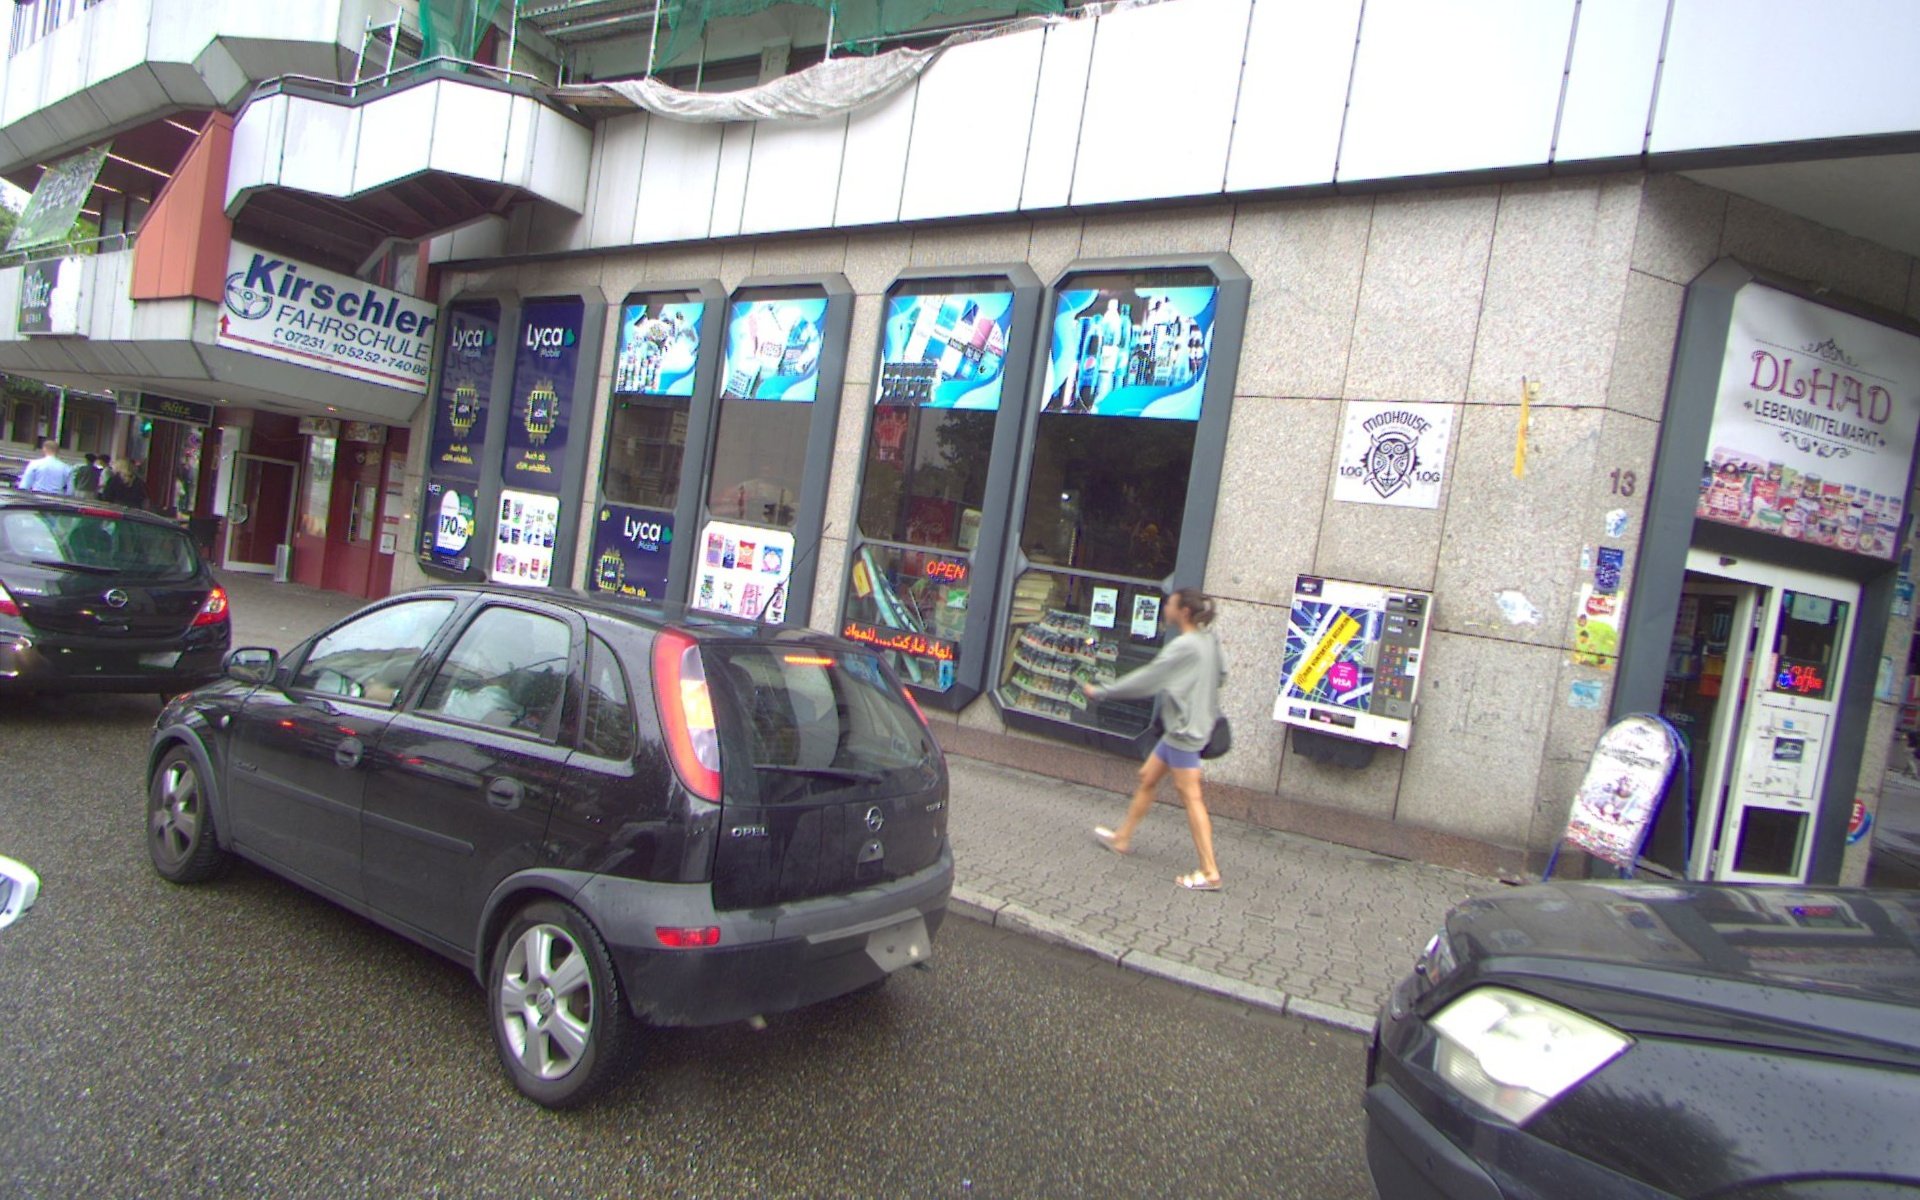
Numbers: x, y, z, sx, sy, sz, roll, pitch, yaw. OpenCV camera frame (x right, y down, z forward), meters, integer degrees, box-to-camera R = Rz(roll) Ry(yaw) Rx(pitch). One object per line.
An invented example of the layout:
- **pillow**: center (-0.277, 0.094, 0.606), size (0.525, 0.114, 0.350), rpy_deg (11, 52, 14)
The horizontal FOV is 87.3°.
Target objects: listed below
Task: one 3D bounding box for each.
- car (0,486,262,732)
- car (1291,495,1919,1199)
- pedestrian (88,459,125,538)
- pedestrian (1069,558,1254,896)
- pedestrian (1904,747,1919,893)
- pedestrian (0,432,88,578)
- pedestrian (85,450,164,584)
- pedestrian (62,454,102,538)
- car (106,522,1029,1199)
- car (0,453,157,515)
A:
- **car**: center (-7.070, -0.107, 7.345), size (3.776, 1.446, 1.620), rpy_deg (8, -1, 29)
- **car**: center (2.798, 1.018, 1.432), size (4.094, 1.786, 1.763), rpy_deg (8, -1, 32)
- **pedestrian**: center (-18.630, -2.205, 21.962), size (0.496, 1.660, 0.396), rpy_deg (6, 1, 32)
- **pedestrian**: center (1.224, 0.706, 6.079), size (0.760, 1.841, 0.741), rpy_deg (6, 4, 30)
- **pedestrian**: center (9.042, 1.718, 8.958), size (0.763, 1.841, 0.739), rpy_deg (7, 4, 43)
- **pedestrian**: center (-13.219, -1.348, 14.437), size (0.629, 1.957, 0.737), rpy_deg (6, -1, 31)
- **pedestrian**: center (-12.787, -1.258, 15.404), size (0.629, 1.961, 0.736), rpy_deg (6, 4, 31)
- **pedestrian**: center (-18.649, -2.202, 21.360), size (0.443, 1.704, 0.426), rpy_deg (6, 1, 30)
- **car**: center (-1.741, 0.650, 4.110), size (3.563, 1.446, 1.609), rpy_deg (8, -1, 33)
- **car**: center (-28.147, -3.640, 31.969), size (1.808, 1.226, 3.690), rpy_deg (5, -3, 36)
